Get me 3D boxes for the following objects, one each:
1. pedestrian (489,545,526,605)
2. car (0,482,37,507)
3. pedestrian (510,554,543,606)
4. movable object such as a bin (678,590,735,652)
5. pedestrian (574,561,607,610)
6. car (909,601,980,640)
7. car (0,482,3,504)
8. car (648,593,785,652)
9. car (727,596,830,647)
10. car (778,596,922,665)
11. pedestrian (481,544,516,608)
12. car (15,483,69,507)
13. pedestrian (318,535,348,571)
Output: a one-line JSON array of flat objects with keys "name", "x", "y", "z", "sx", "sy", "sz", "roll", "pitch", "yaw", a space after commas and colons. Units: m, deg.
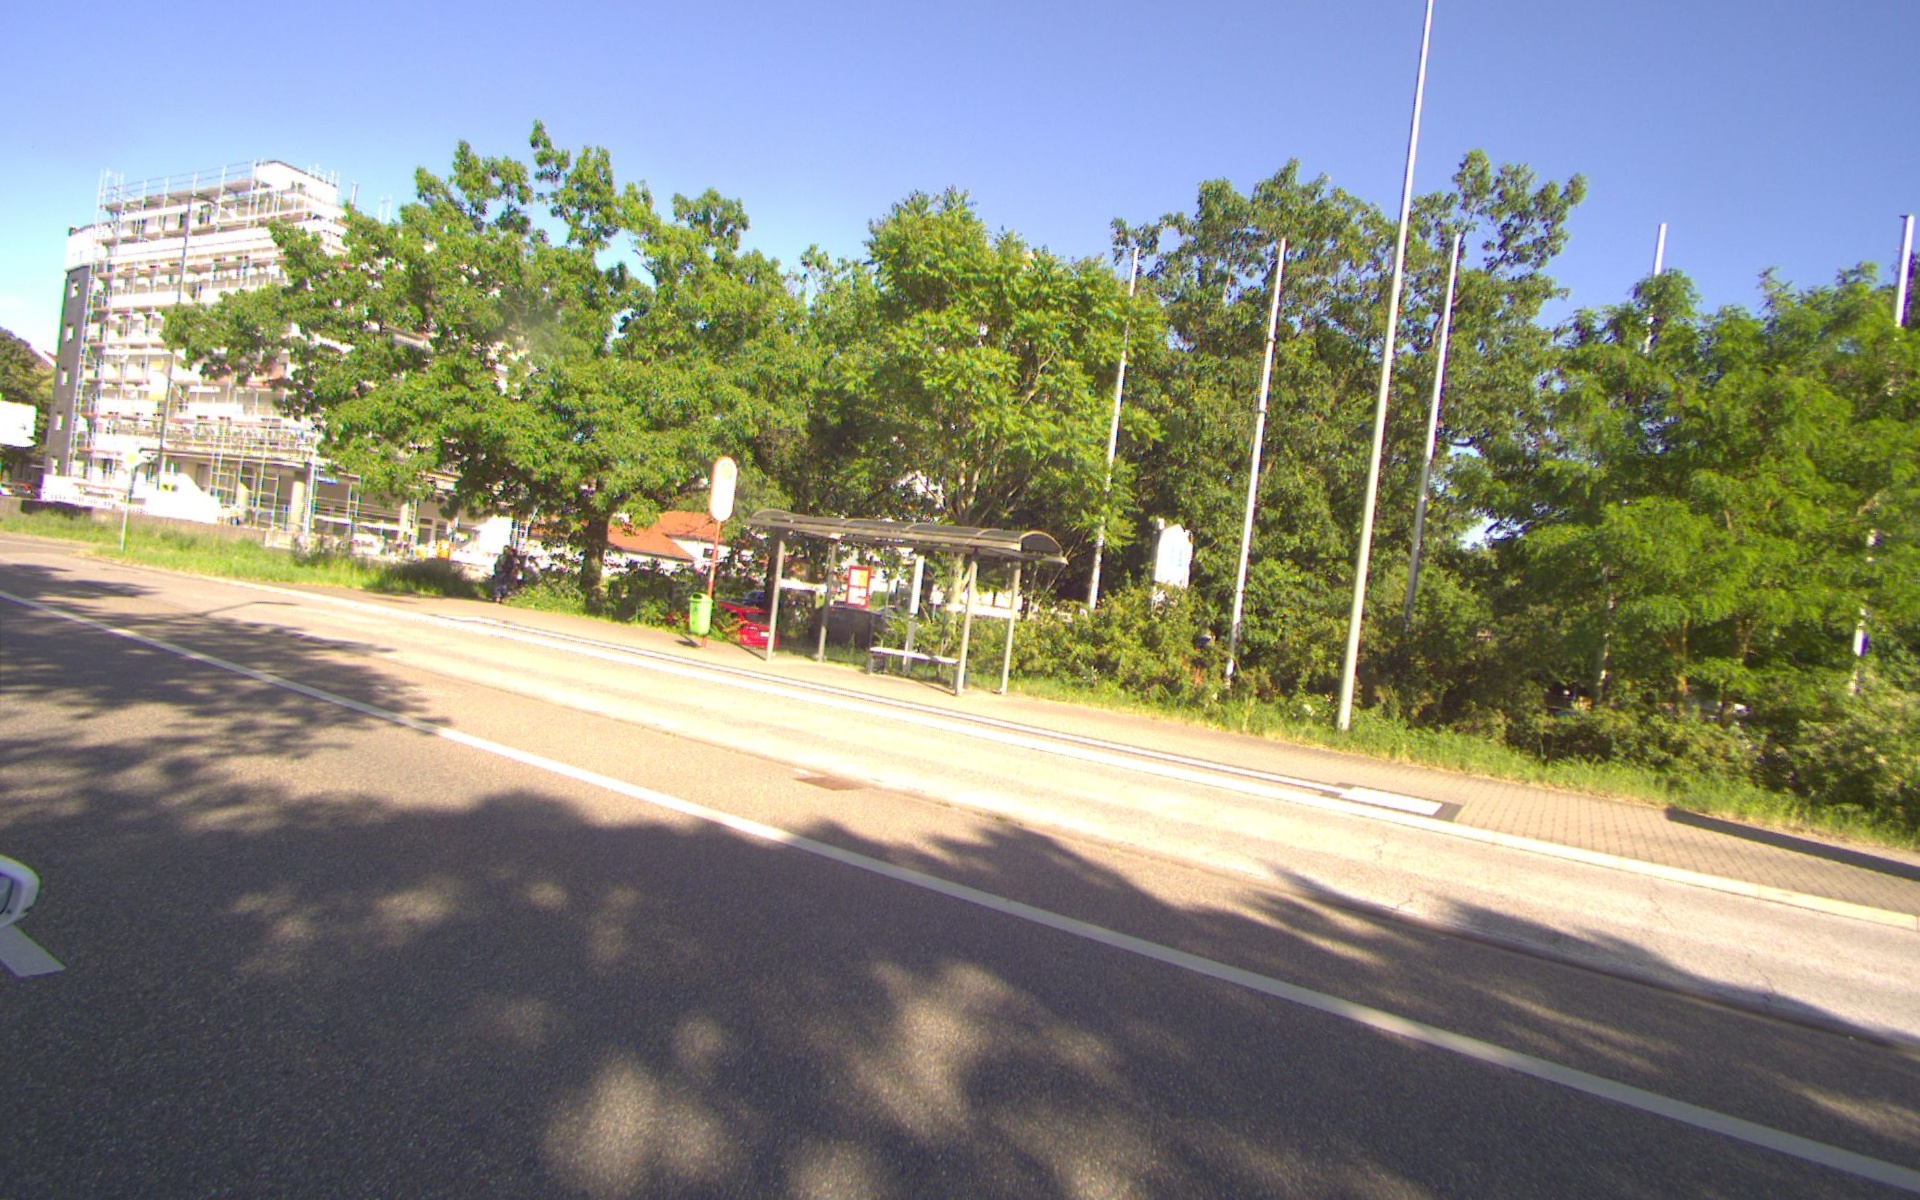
[{"name": "pedestrian", "x": -13.135, "y": -0.729, "z": 29.206, "sx": 0.542, "sy": 1.655, "sz": 0.622, "roll": 8, "pitch": 1, "yaw": 32}, {"name": "car", "x": -66.877, "y": -7.460, "z": 70.582, "sx": 1.802, "sy": 1.527, "sz": 3.975, "roll": 7, "pitch": 0, "yaw": -24}, {"name": "pedestrian", "x": -13.513, "y": -0.628, "z": 31.364, "sx": 0.604, "sy": 1.537, "sz": 0.528, "roll": 7, "pitch": 0, "yaw": 35}, {"name": "movable object such as a bin", "x": -4.706, "y": 0.395, "z": 18.700, "sx": 0.568, "sy": 1.042, "sz": 0.727, "roll": 7, "pitch": 0, "yaw": 31}, {"name": "pedestrian", "x": -13.094, "y": -0.512, "z": 35.645, "sx": 0.557, "sy": 1.638, "sz": 0.705, "roll": 7, "pitch": -1, "yaw": 26}, {"name": "car", "x": -1.063, "y": 1.413, "z": 68.858, "sx": 4.283, "sy": 2.098, "sz": 1.995, "roll": 7, "pitch": 0, "yaw": 35}, {"name": "car", "x": -64.883, "y": -7.227, "z": 66.099, "sx": 1.759, "sy": 1.460, "sz": 3.595, "roll": 8, "pitch": 0, "yaw": -25}, {"name": "car", "x": -6.975, "y": 0.634, "z": 28.725, "sx": 3.846, "sy": 1.168, "sz": 1.399, "roll": 7, "pitch": 0, "yaw": 31}, {"name": "car", "x": -7.715, "y": 0.914, "z": 42.764, "sx": 3.938, "sy": 1.626, "sz": 1.995, "roll": 6, "pitch": -2, "yaw": 35}, {"name": "car", "x": -3.959, "y": 1.066, "z": 35.910, "sx": 4.811, "sy": 1.556, "sz": 1.996, "roll": 10, "pitch": 0, "yaw": 35}, {"name": "pedestrian", "x": -13.063, "y": -0.684, "z": 28.472, "sx": 0.403, "sy": 1.721, "sz": 0.603, "roll": 8, "pitch": 1, "yaw": 31}, {"name": "car", "x": -84.085, "y": -9.631, "z": 92.135, "sx": 3.925, "sy": 1.613, "sz": 1.911, "roll": 7, "pitch": 0, "yaw": 19}, {"name": "pedestrian", "x": -28.731, "y": -2.138, "z": 46.085, "sx": 0.892, "sy": 1.516, "sz": 0.651, "roll": 7, "pitch": 0, "yaw": 24}]
